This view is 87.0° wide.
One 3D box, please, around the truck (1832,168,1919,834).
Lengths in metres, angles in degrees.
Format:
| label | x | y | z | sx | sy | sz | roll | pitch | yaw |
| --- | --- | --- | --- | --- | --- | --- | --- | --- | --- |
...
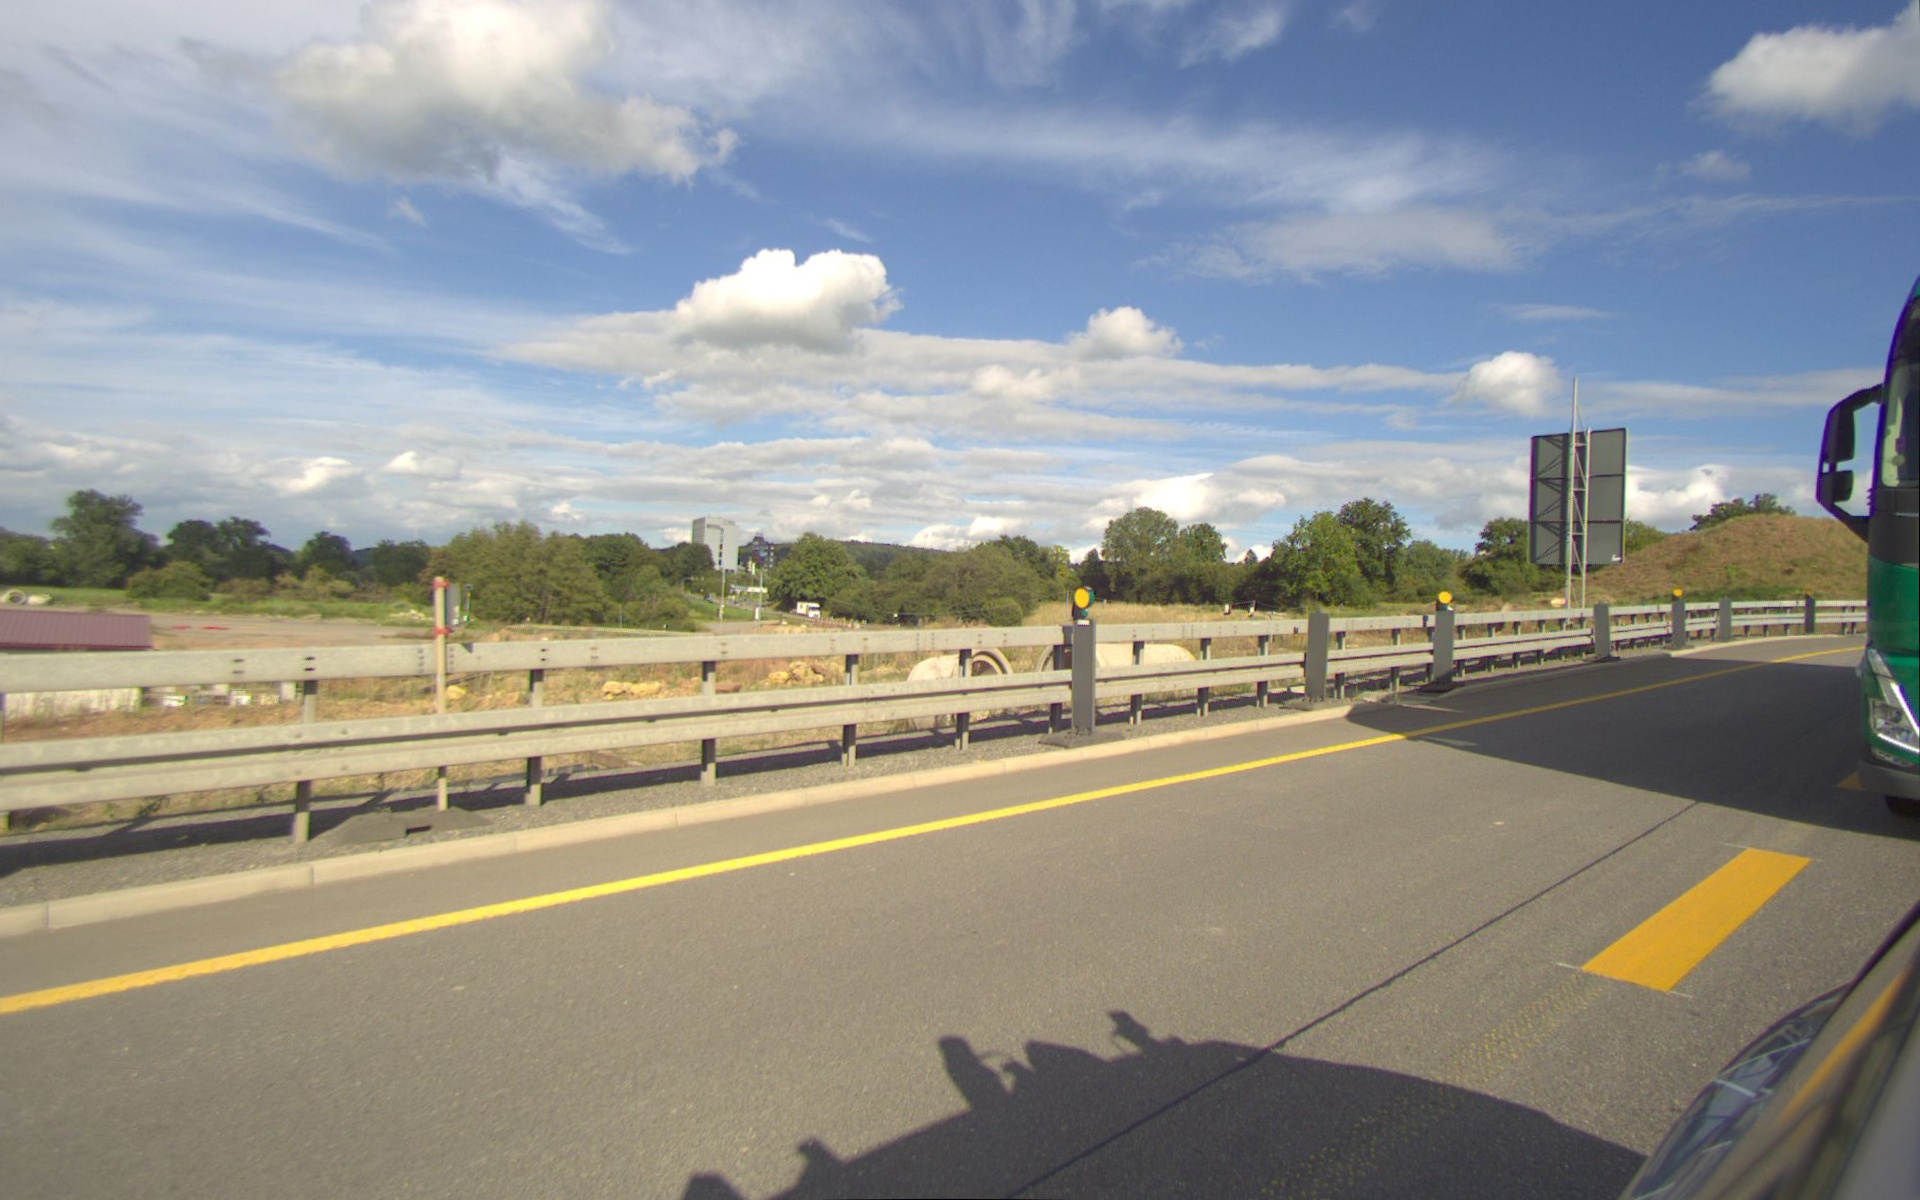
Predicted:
| label | x | y | z | sx | sy | sz | roll | pitch | yaw |
| --- | --- | --- | --- | --- | --- | --- | --- | --- | --- |
| truck | 10.022 | -0.722 | 8.604 | 10.142 | 3.895 | 2.660 | -2 | 1 | -42 |
